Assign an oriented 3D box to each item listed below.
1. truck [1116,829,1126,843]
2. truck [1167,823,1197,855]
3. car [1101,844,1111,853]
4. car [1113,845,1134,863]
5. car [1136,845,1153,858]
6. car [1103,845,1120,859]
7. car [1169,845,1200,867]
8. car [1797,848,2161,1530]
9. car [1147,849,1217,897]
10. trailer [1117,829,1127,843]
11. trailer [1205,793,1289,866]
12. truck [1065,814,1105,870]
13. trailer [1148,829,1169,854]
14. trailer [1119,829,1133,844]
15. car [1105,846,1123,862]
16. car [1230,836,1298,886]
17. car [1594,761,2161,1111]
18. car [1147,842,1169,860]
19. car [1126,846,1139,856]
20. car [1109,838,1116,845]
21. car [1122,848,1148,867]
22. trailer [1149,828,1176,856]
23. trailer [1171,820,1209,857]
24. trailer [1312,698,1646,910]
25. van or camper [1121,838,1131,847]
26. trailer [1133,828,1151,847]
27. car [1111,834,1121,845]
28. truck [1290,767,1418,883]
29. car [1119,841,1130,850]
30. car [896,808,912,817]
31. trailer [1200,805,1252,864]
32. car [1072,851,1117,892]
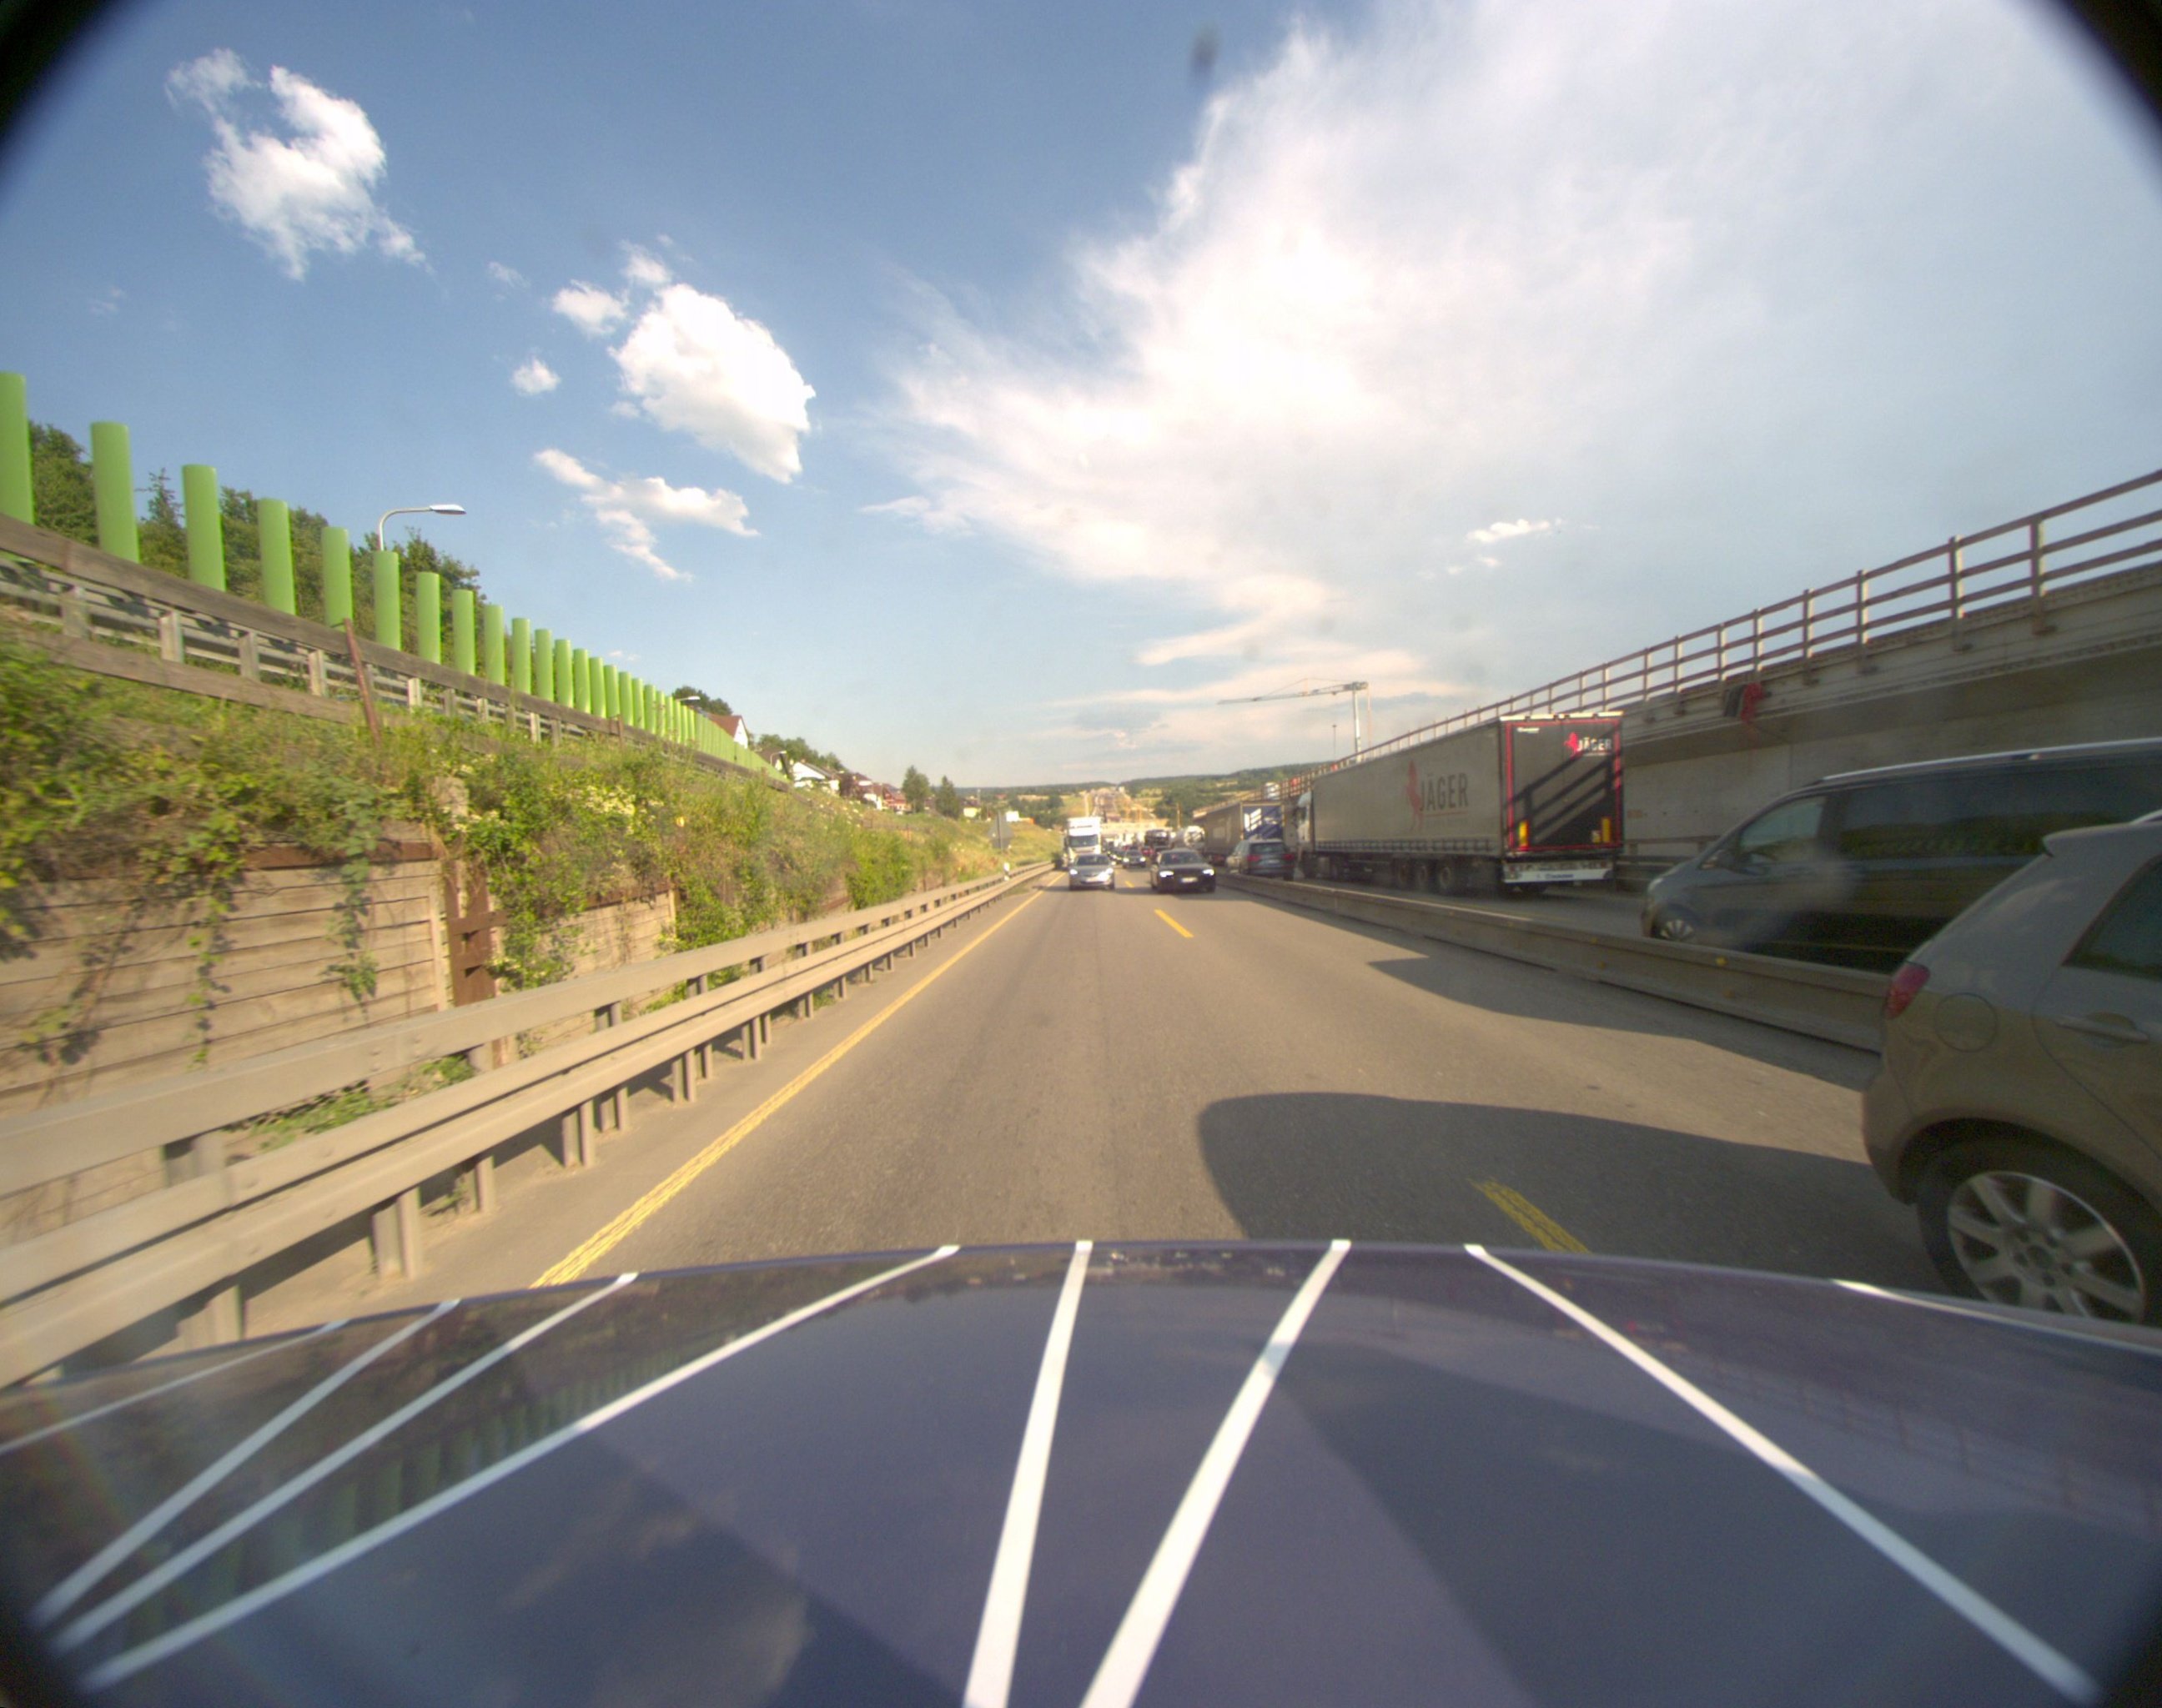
[{"bbox_3d":[13.451,-6.125,257.284,2.834,4.239,10.070,-3,1,1],"label":"truck"},{"bbox_3d":[11.418,-1.691,86.115,2.555,3.390,5.530,-3,1,1],"label":"truck"},{"bbox_3d":[5.267,-1.163,159.121,1.998,1.696,3.999,-2,1,0],"label":"car"},{"bbox_3d":[4.314,-0.049,78.059,1.998,1.740,4.000,-2,1,2],"label":"car"},{"bbox_3d":[8.270,-0.297,99.095,1.729,1.548,4.297,-3,0,1],"label":"car"},{"bbox_3d":[3.927,-0.304,98.141,1.917,1.746,4.000,-1,0,0],"label":"car"},{"bbox_3d":[7.689,0.119,56.812,1.645,1.451,4.595,-3,1,1],"label":"car"},{"bbox_3d":[3.324,0.767,0.518,1.685,1.579,4.272,0,0,1],"label":"car"},{"bbox_3d":[3.396,0.578,26.280,1.873,1.411,4.348,-2,1,1],"label":"car"},{"bbox_3d":[13.241,-5.939,247.907,2.834,4.259,8.733,-3,1,1],"label":"trailer"},{"bbox_3d":[10.808,-1.432,51.228,2.771,4.117,14.026,-3,0,2],"label":"trailer"},{"bbox_3d":[0.432,-1.039,62.343,2.741,4.034,12.668,-3,1,1],"label":"truck"},{"bbox_3d":[12.794,-2.132,126.358,2.778,4.008,7.206,-3,1,1],"label":"trailer"},{"bbox_3d":[12.270,-4.765,207.803,2.933,4.014,13.770,-3,1,0],"label":"trailer"},{"bbox_3d":[3.755,-0.049,87.473,1.917,1.746,4.000,-1,0,0],"label":"car"},{"bbox_3d":[7.290,0.201,30.758,1.826,1.762,5.140,-3,1,4],"label":"car"},{"bbox_3d":[6.868,0.376,6.021,1.990,1.911,5.290,-3,1,0],"label":"car"},{"bbox_3d":[7.527,-0.292,74.780,1.645,1.635,4.688,-3,1,0],"label":"car"},{"bbox_3d":[8.324,-0.489,123.013,1.770,1.543,4.835,-3,1,0],"label":"car"},{"bbox_3d":[9.757,-3.911,234.289,1.785,1.833,4.852,-3,1,1],"label":"car"},{"bbox_3d":[4.286,0.237,60.792,1.692,1.294,3.882,-3,1,-1],"label":"car"},{"bbox_3d":[12.604,-1.949,118.897,2.778,4.008,15.760,-3,1,1],"label":"trailer"},{"bbox_3d":[11.330,-1.602,79.725,2.563,3.507,10.679,-3,1,1],"label":"trailer"},{"bbox_3d":[10.275,-1.186,22.487,2.920,4.216,13.767,-3,1,2],"label":"trailer"},{"bbox_3d":[10.657,-2.847,180.585,1.863,2.002,5.294,-3,1,0],"label":"van or camper"},{"bbox_3d":[12.993,-3.529,162.256,2.659,3.828,13.439,-3,1,1],"label":"trailer"},{"bbox_3d":[9.068,-3.740,198.463,1.999,2.608,7.407,-3,1,-2],"label":"car"},{"bbox_3d":[10.458,-1.090,29.711,2.867,3.985,5.656,-3,2,1],"label":"truck"},{"bbox_3d":[7.999,-1.637,141.129,1.761,1.569,4.338,-3,1,1],"label":"car"},{"bbox_3d":[-32.905,-7.773,141.208,1.998,1.434,3.999,-3,1,1],"label":"car"},{"bbox_3d":[10.967,-1.444,57.931,2.771,4.117,5.976,-3,0,2],"label":"trailer"},{"bbox_3d":[0.534,0.663,30.646,1.671,1.425,3.523,-2,1,1],"label":"car"}]
